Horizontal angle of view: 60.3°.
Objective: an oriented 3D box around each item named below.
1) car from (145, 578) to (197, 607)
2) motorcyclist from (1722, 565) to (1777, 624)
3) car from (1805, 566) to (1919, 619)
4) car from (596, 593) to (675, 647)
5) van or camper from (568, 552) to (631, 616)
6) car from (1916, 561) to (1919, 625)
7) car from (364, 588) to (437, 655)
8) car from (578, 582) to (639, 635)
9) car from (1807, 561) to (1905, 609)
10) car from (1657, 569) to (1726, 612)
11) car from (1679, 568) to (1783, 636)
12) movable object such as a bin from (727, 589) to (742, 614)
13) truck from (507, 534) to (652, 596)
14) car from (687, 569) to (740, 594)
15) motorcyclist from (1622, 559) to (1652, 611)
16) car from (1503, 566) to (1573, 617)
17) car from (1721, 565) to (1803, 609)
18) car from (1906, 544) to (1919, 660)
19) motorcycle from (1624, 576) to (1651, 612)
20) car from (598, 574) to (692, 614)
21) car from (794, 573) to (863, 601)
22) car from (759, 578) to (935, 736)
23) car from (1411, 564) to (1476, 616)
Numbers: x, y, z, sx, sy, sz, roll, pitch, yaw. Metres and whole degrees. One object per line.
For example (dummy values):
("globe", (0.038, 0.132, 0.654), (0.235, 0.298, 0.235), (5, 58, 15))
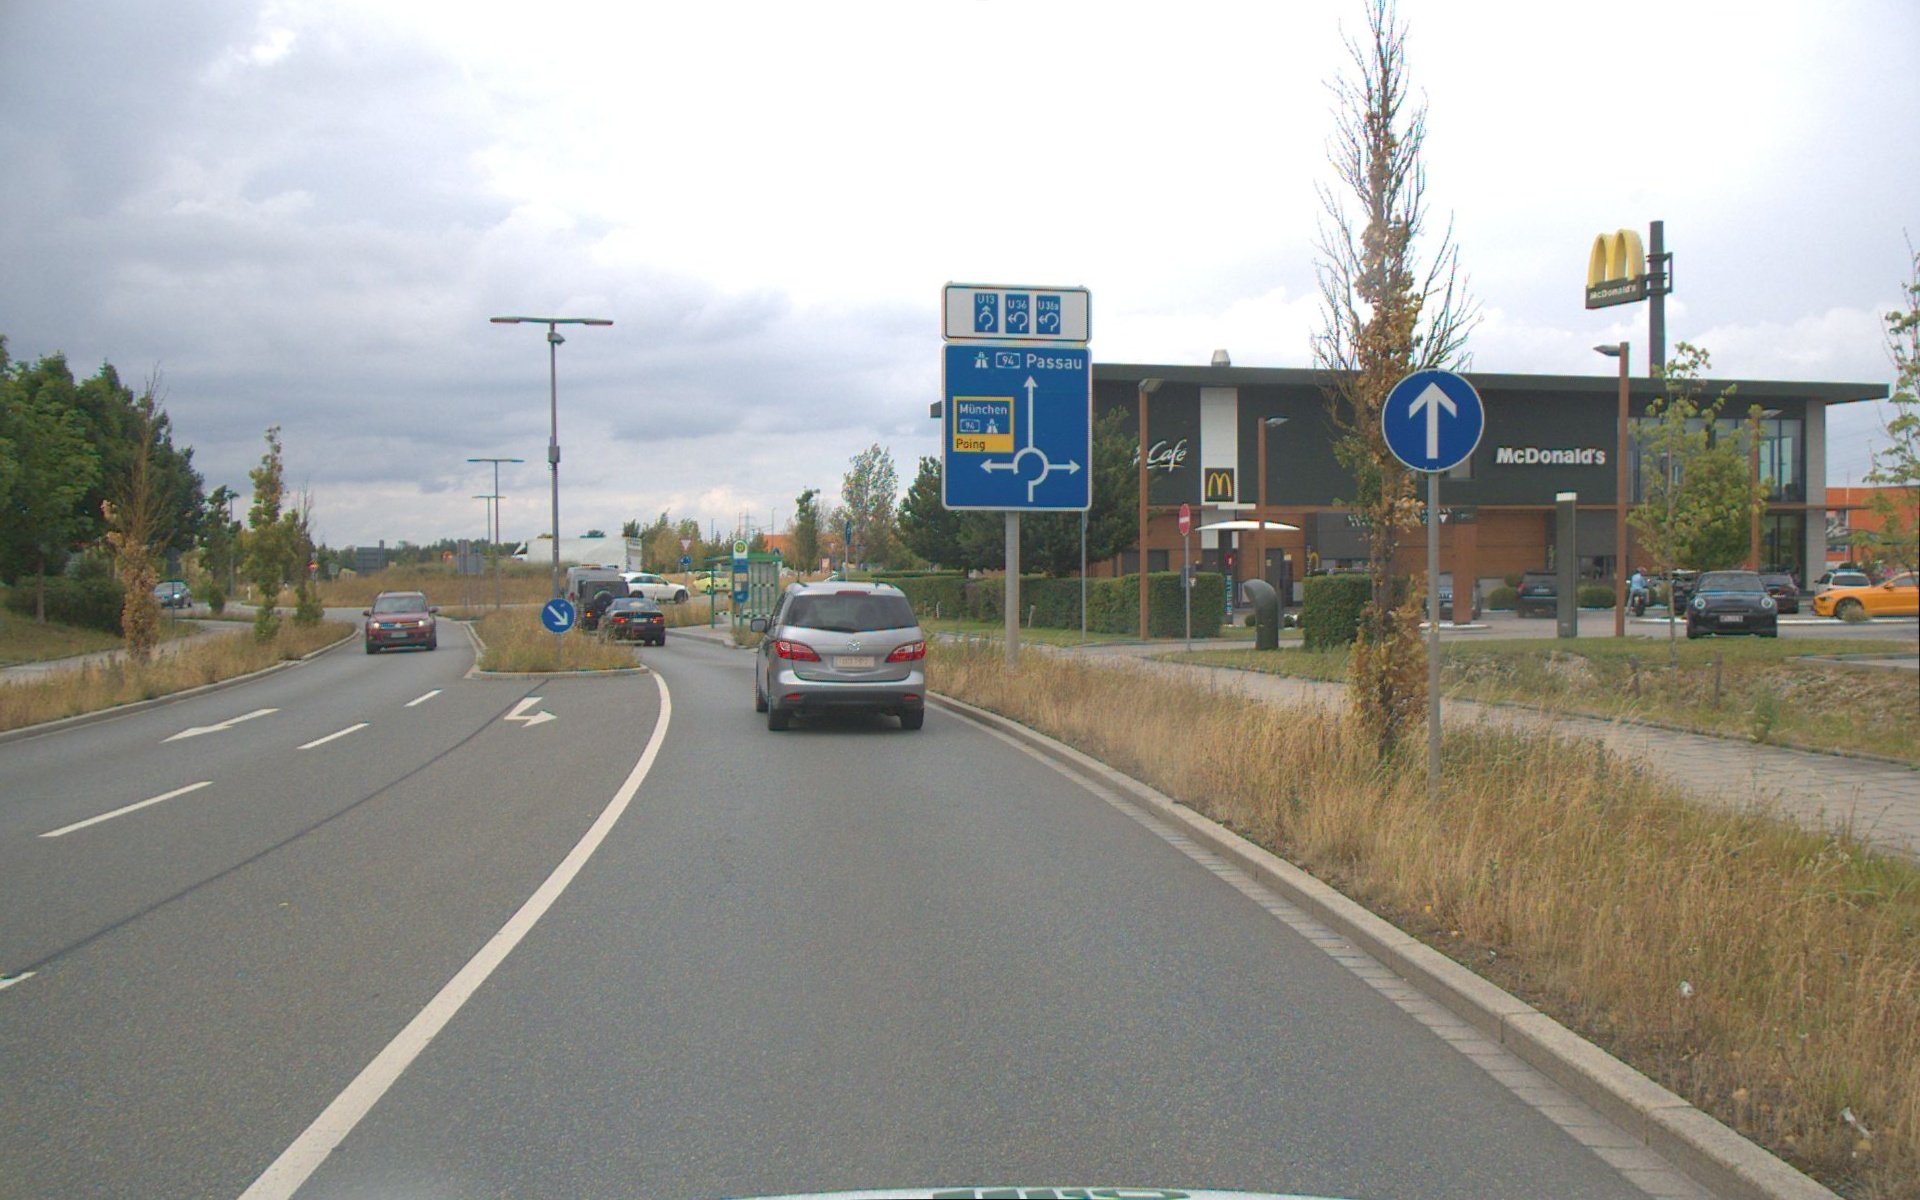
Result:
("car", (-42.920, -0.411, 89.992), (1.811, 1.431, 3.983), (-3, 1, -16))
("motorcyclist", (18.345, -0.129, 38.445), (0.766, 1.357, 0.893), (-1, 0, -14))
("car", (26.611, -0.232, 46.941), (4.625, 1.468, 1.998), (-1, 1, 26))
("car", (-9.494, 0.550, 48.147), (1.816, 1.443, 4.204), (-1, 1, -17))
("van or camper", (-14.881, -0.660, 68.057), (2.265, 2.549, 5.184), (0, 1, -15))
("car", (22.737, -0.168, 37.255), (1.962, 1.454, 4.148), (0, 1, 29))
("car", (-15.778, 0.577, 46.580), (1.772, 1.698, 4.302), (-3, 1, -19))
("car", (-13.013, 0.289, 61.048), (2.024, 1.857, 4.767), (0, 0, -15))
("car", (33.902, -0.583, 62.546), (3.962, 1.752, 1.971), (-1, 1, -40))
("car", (26.929, -0.360, 60.980), (1.746, 1.523, 4.003), (0, 1, 16))
("car", (16.256, 0.006, 35.005), (1.774, 1.336, 3.850), (0, 1, 22))
("movable object such as a bin", (-7.555, 0.049, 55.470), (0.449, 0.812, 0.378), (-1, 0, -18))
("truck", (-25.931, -2.358, 112.805), (9.106, 3.975, 3.146), (-1, 0, 13))
("car", (-16.221, -1.218, 108.769), (1.976, 1.542, 3.953), (-1, 1, -34))
("motorcyclist", (24.269, -0.537, 59.299), (0.941, 1.864, 0.845), (0, 0, 21))
("car", (20.788, -0.314, 59.425), (2.073, 1.747, 4.229), (0, 1, 23))
("car", (29.833, -0.492, 61.668), (1.951, 1.609, 4.003), (0, 1, 14))
("car", (16.080, 0.002, 23.728), (4.276, 1.668, 1.929), (-1, 1, -16))
("motorcycle", (24.273, -0.232, 59.286), (0.839, 1.266, 1.967), (0, 1, 21))
("car", (-16.722, -0.320, 87.840), (4.588, 2.049, 1.968), (-1, 1, -44))
("car", (-8.732, -0.877, 109.722), (4.514, 1.788, 1.997), (0, 0, -7))
("car", (-1.403, 0.574, 19.144), (1.698, 1.628, 3.799), (0, 1, -9))
("car", (17.001, -0.368, 58.013), (1.952, 1.747, 4.001), (0, 1, 20))
